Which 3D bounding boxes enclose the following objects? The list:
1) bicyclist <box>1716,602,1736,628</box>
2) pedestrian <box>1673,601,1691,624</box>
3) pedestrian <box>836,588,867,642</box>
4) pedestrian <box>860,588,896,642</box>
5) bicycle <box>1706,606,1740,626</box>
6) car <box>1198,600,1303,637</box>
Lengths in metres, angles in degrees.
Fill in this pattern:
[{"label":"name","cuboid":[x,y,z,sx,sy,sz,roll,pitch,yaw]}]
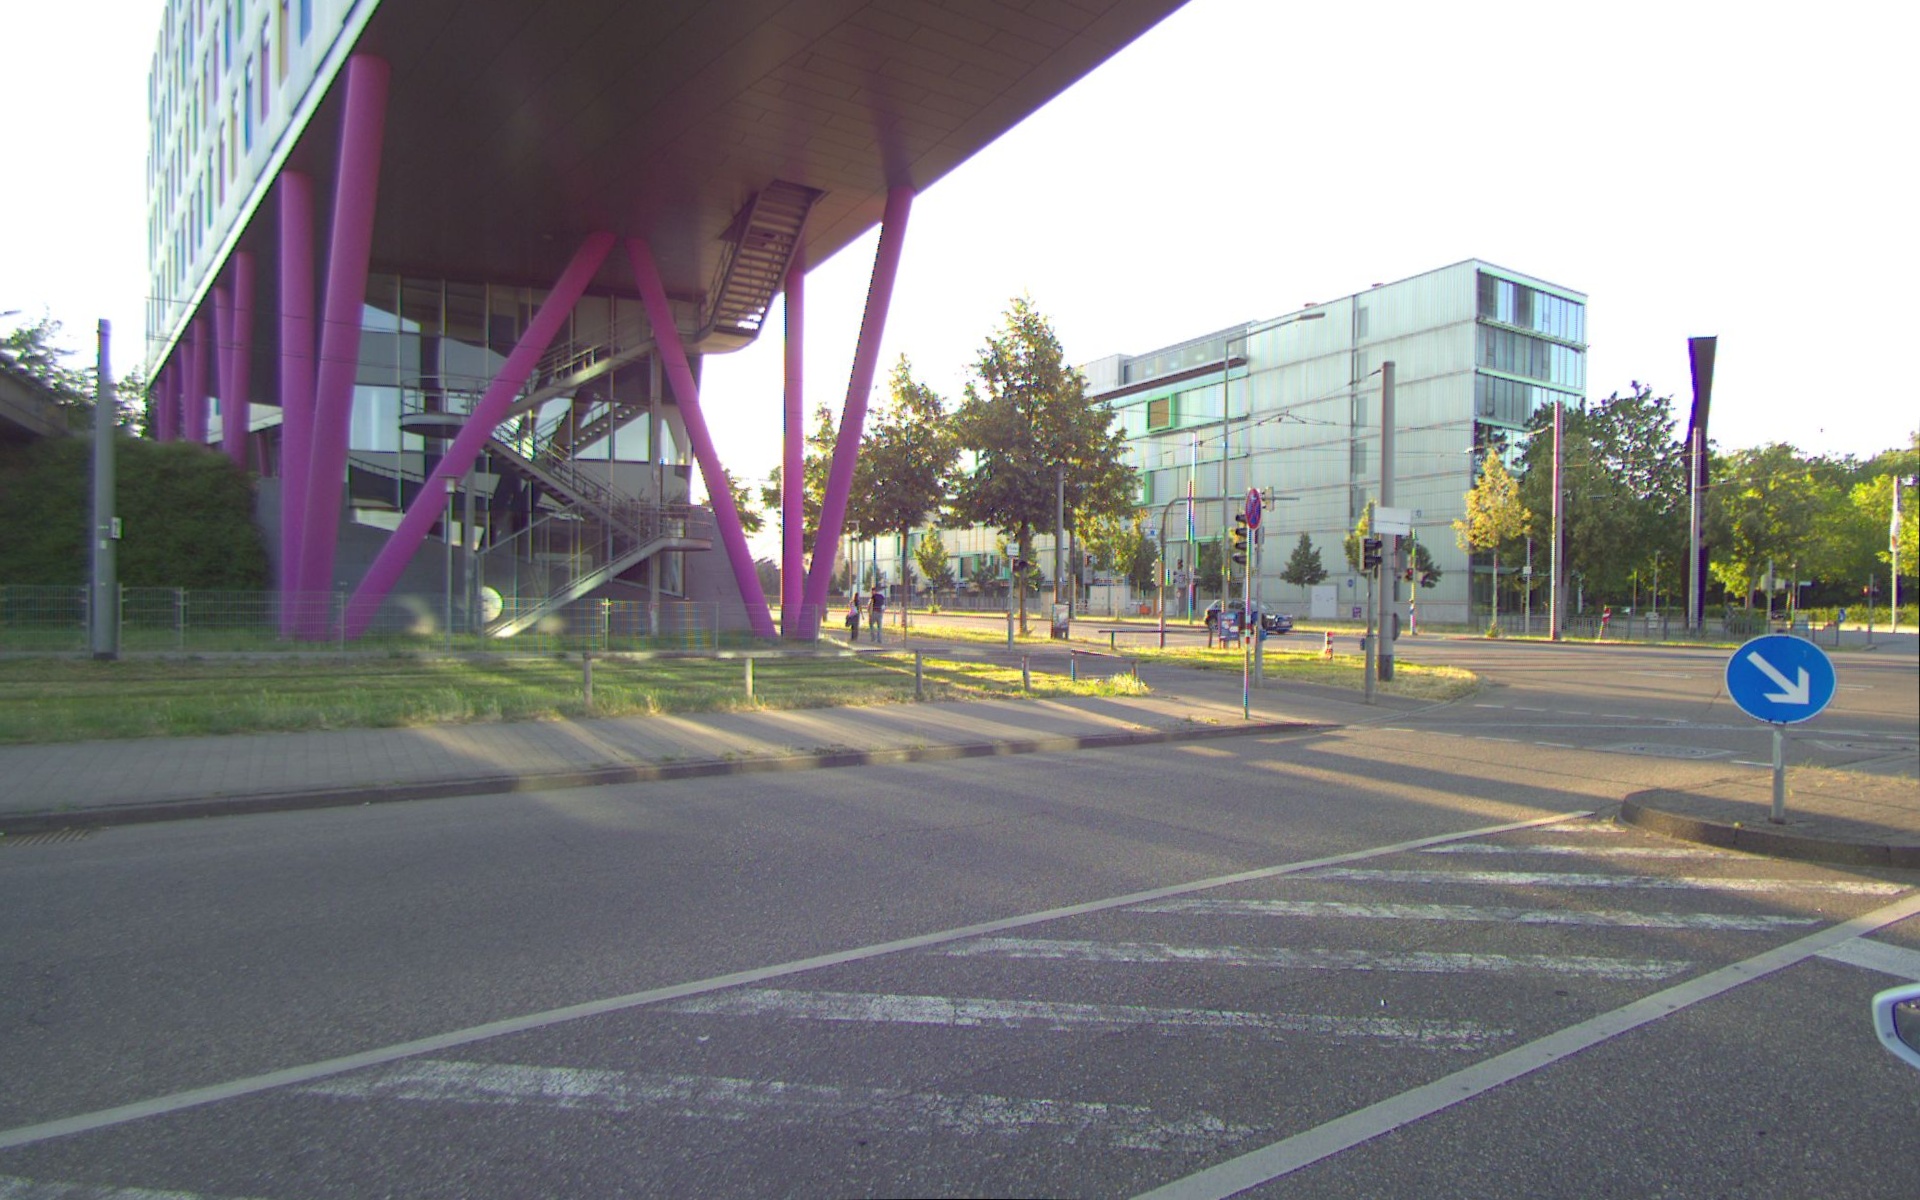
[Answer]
[{"label":"bicyclist","cuboid":[52.672,1.018,69.072,0.738,1.732,0.920,1,0,11]},{"label":"pedestrian","cuboid":[57.590,0.997,80.120,0.814,1.767,0.863,1,0,0]},{"label":"pedestrian","cuboid":[-3.585,0.506,33.131,0.754,1.727,0.882,1,-2,-25]},{"label":"pedestrian","cuboid":[-2.735,0.511,33.579,0.923,1.747,0.875,1,-2,-33]},{"label":"bicycle","cuboid":[52.722,1.092,69.433,0.717,1.359,2.692,1,0,11]},{"label":"car","cuboid":[13.292,0.802,46.198,1.968,1.577,4.448,1,0,-34]}]
